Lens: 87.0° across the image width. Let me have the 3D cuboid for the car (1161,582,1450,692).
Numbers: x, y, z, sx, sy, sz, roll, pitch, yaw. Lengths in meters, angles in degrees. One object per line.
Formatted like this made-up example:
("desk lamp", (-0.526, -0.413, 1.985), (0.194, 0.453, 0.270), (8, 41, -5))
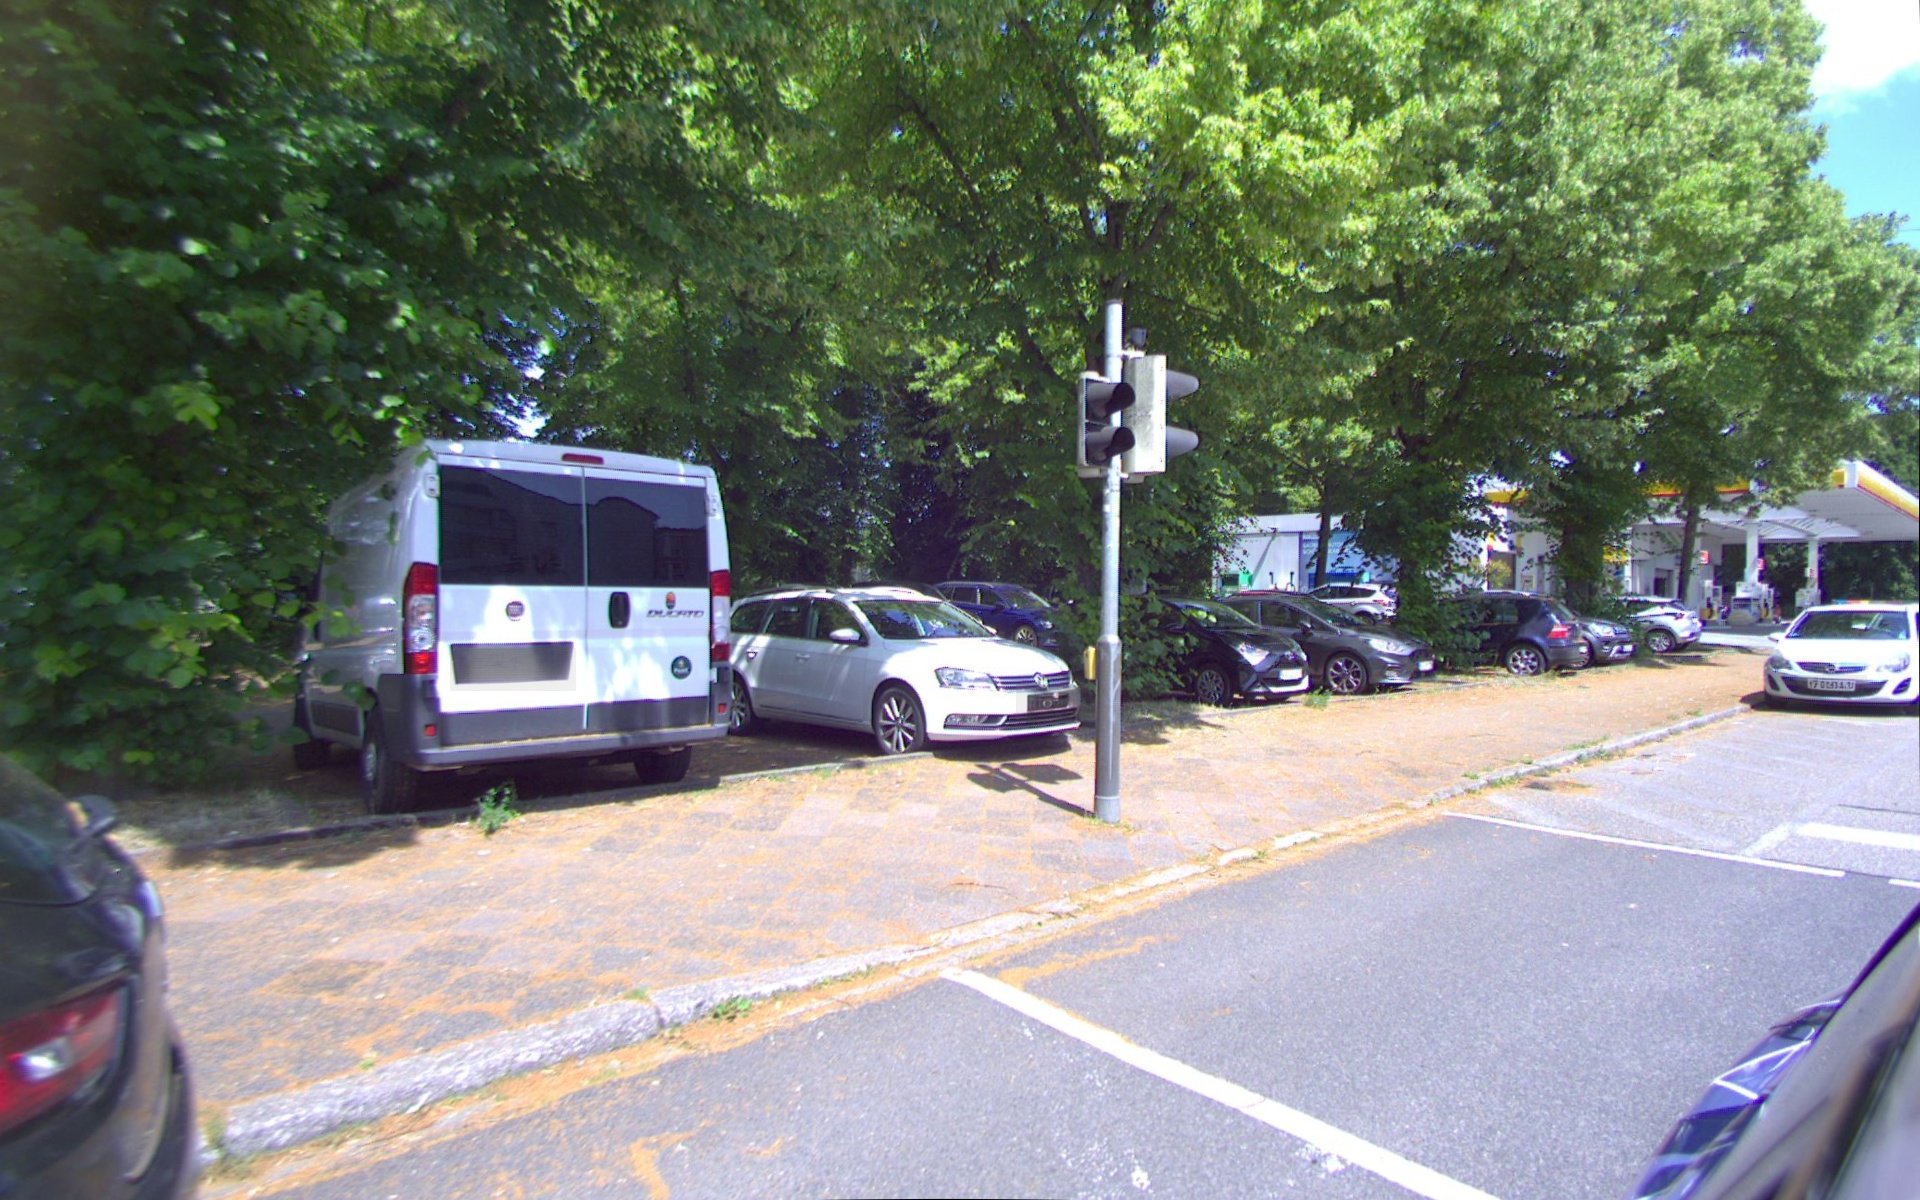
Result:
("car", (5.319, 0.506, 15.990), (1.609, 1.512, 4.073), (0, 0, -42))

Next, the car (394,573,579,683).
("car", (-7.610, 0.340, 16.082), (1.772, 1.491, 3.997), (0, 2, -39))

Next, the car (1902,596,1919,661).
("car", (23.176, 0.638, 23.334), (3.279, 1.461, 1.774), (0, 0, -41))

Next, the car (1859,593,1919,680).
("car", (18.760, 0.644, 19.311), (4.134, 1.544, 1.866), (0, 0, -41))

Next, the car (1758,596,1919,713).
("car", (13.140, 0.695, 14.632), (4.038, 1.461, 1.720), (0, -1, -40))

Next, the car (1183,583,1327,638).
("car", (8.765, 0.273, 30.274), (1.709, 1.483, 3.800), (0, 2, -44))

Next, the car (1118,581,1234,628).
("car", (7.819, 0.132, 36.840), (1.710, 1.583, 3.800), (0, 2, -45))

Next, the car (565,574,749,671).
("car", (-5.504, 0.305, 18.077), (1.772, 1.491, 3.997), (0, 2, -39))

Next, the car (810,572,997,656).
("car", (-1.318, 0.221, 22.014), (1.788, 1.607, 4.259), (0, 2, -42))

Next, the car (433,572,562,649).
("car", (-10.053, 0.165, 21.870), (1.706, 1.483, 3.808), (0, 1, -38))

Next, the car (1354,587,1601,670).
("car", (9.512, 0.485, 18.764), (3.832, 1.375, 1.605), (0, 0, 41))

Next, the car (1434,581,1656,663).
("car", (12.240, 0.421, 21.406), (1.597, 1.555, 3.773), (0, 0, -30))

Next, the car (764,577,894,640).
("car", (-3.536, 0.173, 26.822), (1.706, 1.483, 3.808), (0, 2, -38))

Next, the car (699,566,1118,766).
("car", (-0.719, 0.544, 9.892), (1.778, 1.513, 4.330), (0, -1, -42))

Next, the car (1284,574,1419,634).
("car", (13.169, 0.085, 34.141), (1.901, 1.874, 3.800), (0, 2, -44))

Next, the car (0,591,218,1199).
("car", (-2.881, 0.711, 0.522), (3.930, 1.446, 1.666), (0, 0, -41))

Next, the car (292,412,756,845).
("car", (-3.629, 0.189, 7.837), (2.069, 2.305, 4.610), (0, -1, -40))

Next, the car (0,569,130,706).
("car", (-11.719, 0.364, 12.855), (1.772, 1.491, 3.997), (0, 2, -39))

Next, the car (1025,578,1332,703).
("car", (2.938, 0.520, 14.316), (1.609, 1.513, 4.072), (0, -1, -42))

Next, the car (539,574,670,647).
("car", (-8.202, 0.181, 23.158), (1.706, 1.511, 3.807), (0, 1, -38))

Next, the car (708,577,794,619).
("car", (-7.629, -0.104, 36.724), (1.704, 1.429, 3.811), (0, 1, -34))

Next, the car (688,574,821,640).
("car", (-5.172, 0.113, 25.147), (1.706, 1.483, 3.808), (0, 1, -38))

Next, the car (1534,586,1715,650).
("car", (17.697, 0.434, 27.044), (1.823, 1.546, 3.755), (0, 1, -44))

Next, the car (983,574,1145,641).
("car", (2.600, 0.132, 25.889), (1.710, 1.540, 3.947), (0, 2, -45))

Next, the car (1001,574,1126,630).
("car", (3.292, 0.027, 32.675), (1.709, 1.645, 3.800), (0, 2, -44))

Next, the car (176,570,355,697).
("car", (-9.793, 0.347, 14.142), (1.772, 1.491, 3.997), (0, 2, -39))

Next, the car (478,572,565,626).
("car", (-13.845, -0.065, 31.828), (1.705, 1.587, 3.809), (0, 1, -36))

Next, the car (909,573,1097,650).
("car", (0.929, 0.200, 23.678), (4.252, 1.607, 1.791), (2, 2, 43))

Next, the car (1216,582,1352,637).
("car", (10.280, 0.257, 32.271), (1.710, 1.603, 3.799), (0, 1, -45))

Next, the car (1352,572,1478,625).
("car", (18.739, -0.091, 41.780), (1.825, 2.022, 4.366), (0, 2, -44))
